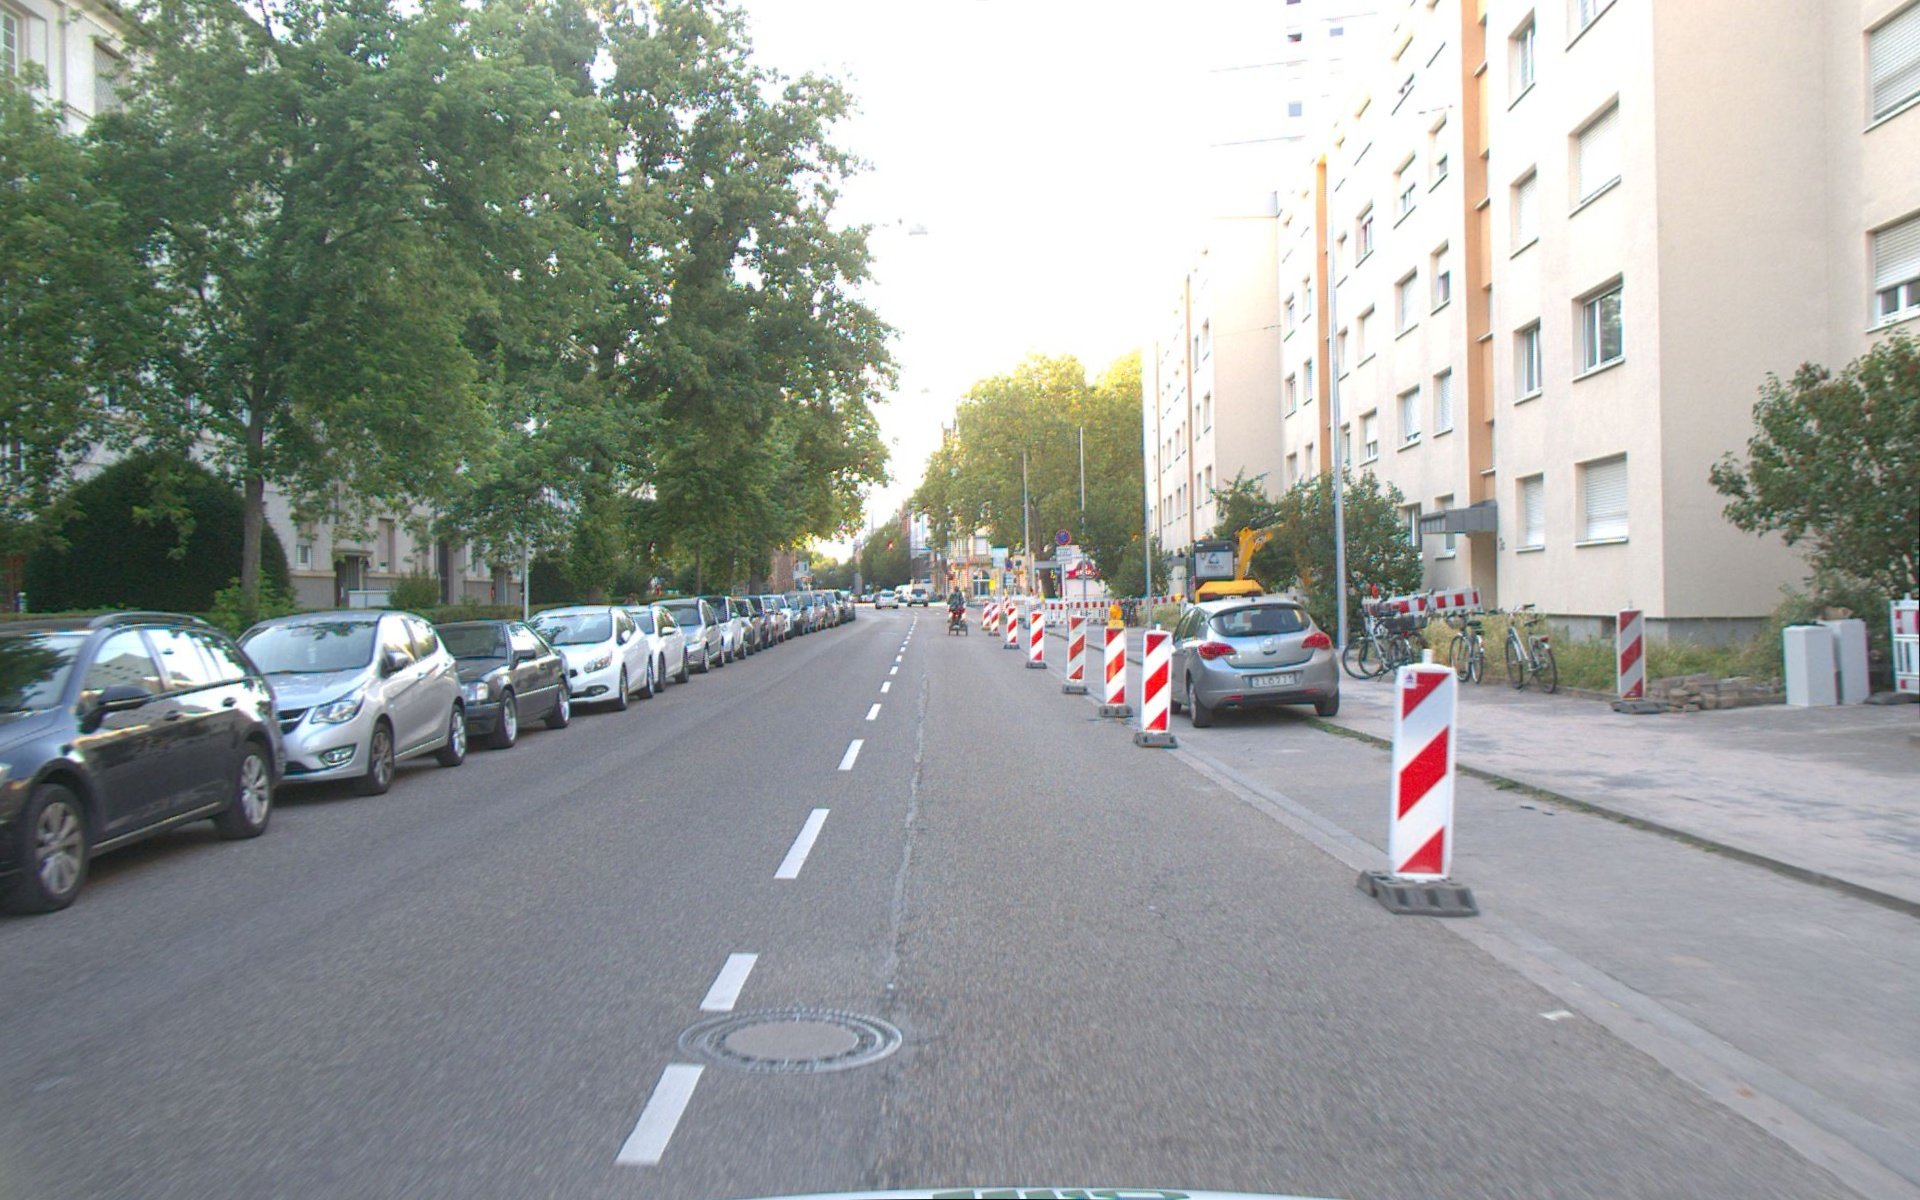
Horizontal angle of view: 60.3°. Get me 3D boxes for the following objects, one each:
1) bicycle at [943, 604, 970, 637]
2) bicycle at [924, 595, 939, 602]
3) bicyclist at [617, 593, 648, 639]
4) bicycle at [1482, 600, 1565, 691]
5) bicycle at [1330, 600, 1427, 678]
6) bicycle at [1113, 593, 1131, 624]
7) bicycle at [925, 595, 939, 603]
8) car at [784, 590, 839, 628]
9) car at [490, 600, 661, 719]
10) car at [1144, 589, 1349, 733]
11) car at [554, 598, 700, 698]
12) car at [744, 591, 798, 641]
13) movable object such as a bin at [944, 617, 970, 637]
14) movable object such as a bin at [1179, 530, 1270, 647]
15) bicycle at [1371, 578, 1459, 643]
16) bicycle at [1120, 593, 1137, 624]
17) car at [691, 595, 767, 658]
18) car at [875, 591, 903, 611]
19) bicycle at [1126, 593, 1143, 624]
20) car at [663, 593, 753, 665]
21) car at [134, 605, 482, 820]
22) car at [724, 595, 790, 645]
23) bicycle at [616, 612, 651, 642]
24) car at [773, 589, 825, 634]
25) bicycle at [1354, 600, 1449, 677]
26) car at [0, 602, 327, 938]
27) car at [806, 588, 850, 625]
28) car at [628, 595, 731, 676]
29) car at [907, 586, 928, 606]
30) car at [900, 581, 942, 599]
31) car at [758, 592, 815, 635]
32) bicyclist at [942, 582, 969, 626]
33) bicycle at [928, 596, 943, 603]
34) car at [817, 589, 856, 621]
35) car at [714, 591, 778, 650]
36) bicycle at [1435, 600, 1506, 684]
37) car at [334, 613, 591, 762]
[{"bbox_3d":[-0.154,0.779,63.522,0.920,1.192,2.358,-3,0,-1],"label":"bicycle"},{"bbox_3d":[-3.623,-0.194,212.089,1.876,0.985,0.545,-1,0,-3],"label":"bicycle"},{"bbox_3d":[-10.264,0.487,51.813,0.792,1.428,0.973,0,0,-2],"label":"bicyclist"},{"bbox_3d":[7.693,0.597,22.649,0.544,1.192,1.817,0,0,1],"label":"bicycle"},{"bbox_3d":[6.605,0.593,26.196,0.548,1.192,1.805,0,0,-20],"label":"bicycle"},{"bbox_3d":[6.557,0.343,67.127,0.442,1.243,1.910,0,0,-3],"label":"bicycle"},{"bbox_3d":[-3.600,-0.077,212.321,1.876,0.985,0.545,-1,0,-3],"label":"bicycle"},{"bbox_3d":[-6.403,0.354,71.625,1.696,1.523,4.272,-3,0,3],"label":"car"},{"bbox_3d":[-5.537,0.798,24.284,1.659,1.485,4.142,-4,0,-3],"label":"car"},{"bbox_3d":[3.555,0.696,21.333,1.740,1.516,4.573,-5,0,0],"label":"car"},{"bbox_3d":[-5.711,0.772,28.850,1.658,1.485,4.482,-4,0,-1],"label":"car"},{"bbox_3d":[-6.580,0.535,58.002,1.559,1.565,4.204,-4,0,-3],"label":"car"},{"bbox_3d":[-0.108,1.013,61.847,0.920,0.701,0.993,-3,0,-2],"label":"movable object such as a bin"},{"bbox_3d":[6.415,-0.274,40.371,1.893,2.740,2.893,-1,0,3],"label":"movable object such as a bin"},{"bbox_3d":[8.768,0.198,31.862,1.562,1.243,0.484,-1,0,-8],"label":"bicycle"},{"bbox_3d":[6.825,0.346,67.224,0.390,1.243,1.910,0,0,-3],"label":"bicycle"},{"bbox_3d":[-6.123,0.663,44.183,1.559,1.492,4.099,-4,0,-3],"label":"car"},{"bbox_3d":[-6.004,0.059,140.109,1.826,1.613,4.002,-2,0,5],"label":"car"},{"bbox_3d":[7.072,0.347,67.163,0.390,1.243,1.825,0,0,-3],"label":"bicycle"},{"bbox_3d":[-5.988,0.660,39.541,1.557,1.555,2.921,-4,0,1],"label":"car"},{"bbox_3d":[-5.427,0.848,14.278,1.641,1.485,3.702,-4,0,-4],"label":"car"},{"bbox_3d":[-6.422,0.614,52.597,1.558,1.428,4.180,-4,0,-1],"label":"car"},{"bbox_3d":[-10.222,0.837,51.800,0.792,0.927,1.761,0,0,-1],"label":"bicycle"},{"bbox_3d":[-6.459,0.447,66.818,1.673,1.628,4.115,-4,0,-1],"label":"car"},{"bbox_3d":[7.103,0.599,26.711,0.616,1.192,1.808,0,0,-17],"label":"bicycle"},{"bbox_3d":[-5.317,0.825,9.448,1.718,1.505,4.676,-4,0,-3],"label":"car"},{"bbox_3d":[-6.716,0.302,84.334,1.914,1.749,4.769,-3,0,-2],"label":"car"},{"bbox_3d":[-5.908,0.704,35.188,1.558,1.531,3.798,-4,0,-2],"label":"car"},{"bbox_3d":[-4.030,-0.362,156.311,1.829,1.846,3.998,-2,0,-3],"label":"car"},{"bbox_3d":[-5.165,-1.274,218.519,5.780,2.328,2.038,-1,0,-45],"label":"car"},{"bbox_3d":[-6.515,0.485,62.399,1.673,1.477,3.842,-4,0,-1],"label":"car"},{"bbox_3d":[-0.190,0.160,63.545,0.920,1.609,1.146,-3,0,-2],"label":"bicyclist"},{"bbox_3d":[-3.158,-0.068,213.121,1.874,0.985,0.546,-1,0,13],"label":"bicycle"},{"bbox_3d":[-6.863,0.258,92.170,1.914,1.645,4.603,-3,0,-2],"label":"car"},{"bbox_3d":[-6.242,0.576,48.454,1.493,1.555,3.163,-4,0,-3],"label":"car"},{"bbox_3d":[7.603,0.601,24.695,0.544,1.192,1.817,0,0,1],"label":"bicycle"},{"bbox_3d":[-5.554,0.902,19.061,1.641,1.355,4.578,-4,0,-2],"label":"car"}]
